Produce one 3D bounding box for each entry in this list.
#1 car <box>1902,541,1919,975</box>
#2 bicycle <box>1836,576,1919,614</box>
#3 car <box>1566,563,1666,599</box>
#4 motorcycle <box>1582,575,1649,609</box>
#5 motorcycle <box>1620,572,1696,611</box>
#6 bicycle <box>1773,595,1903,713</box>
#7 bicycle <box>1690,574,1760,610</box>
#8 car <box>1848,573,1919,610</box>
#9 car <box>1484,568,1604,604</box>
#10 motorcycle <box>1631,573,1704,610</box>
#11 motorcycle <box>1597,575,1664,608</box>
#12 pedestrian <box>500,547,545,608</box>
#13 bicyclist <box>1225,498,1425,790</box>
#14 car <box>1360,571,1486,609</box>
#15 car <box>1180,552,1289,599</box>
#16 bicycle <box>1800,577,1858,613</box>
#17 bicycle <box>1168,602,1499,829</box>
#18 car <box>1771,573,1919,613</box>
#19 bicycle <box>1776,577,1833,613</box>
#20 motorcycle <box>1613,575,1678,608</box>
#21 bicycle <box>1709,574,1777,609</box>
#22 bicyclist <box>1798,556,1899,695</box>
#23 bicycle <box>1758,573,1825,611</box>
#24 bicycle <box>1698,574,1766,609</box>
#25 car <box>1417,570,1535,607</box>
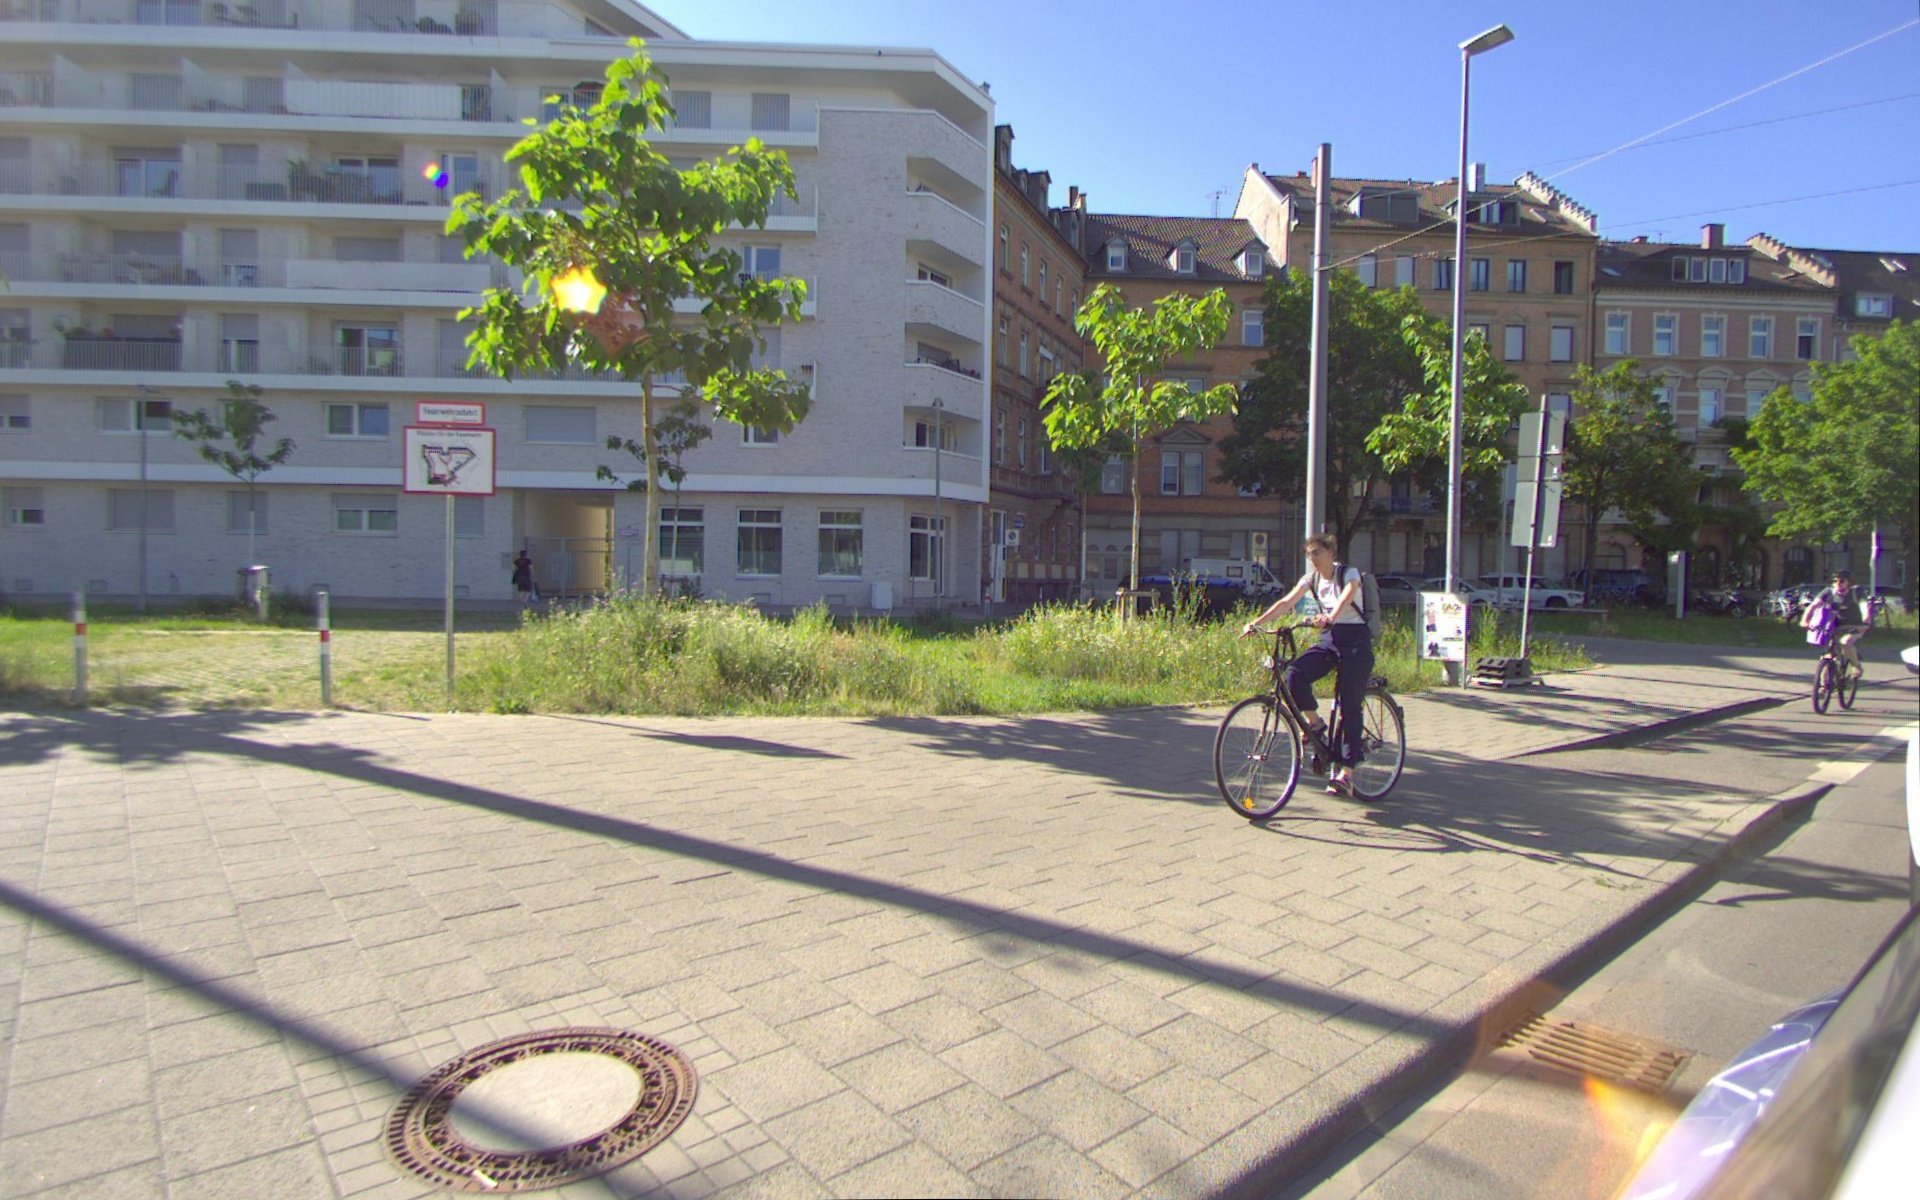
[{"bbox_3d":[5.860,0.607,4.714,4.323,1.667,1.840,0,0,-43],"label":"car"},{"bbox_3d":[31.621,-0.166,34.760,2.180,1.284,0.657,0,0,25],"label":"bicycle"},{"bbox_3d":[30.867,-0.921,47.647,3.631,1.607,1.552,1,2,0],"label":"car"},{"bbox_3d":[26.018,-0.328,40.223,0.649,1.293,2.324,0,0,-18],"label":"motorcycle"},{"bbox_3d":[25.330,-0.306,36.777,0.650,1.347,2.207,0,0,-28],"label":"motorcycle"},{"bbox_3d":[11.233,0.641,12.931,2.035,1.378,0.737,0,1,-34],"label":"bicycle"},{"bbox_3d":[28.361,-0.310,37.562,0.649,1.284,2.208,0,0,-11],"label":"bicycle"},{"bbox_3d":[37.813,-0.329,39.959,1.649,1.423,3.832,-1,3,-32],"label":"car"},{"bbox_3d":[22.320,-0.579,38.771,1.513,1.267,3.700,-1,3,-39],"label":"car"},{"bbox_3d":[26.145,-0.321,37.466,0.649,1.339,2.208,0,0,-23],"label":"motorcycle"},{"bbox_3d":[26.688,-0.336,40.354,0.649,1.300,2.324,0,0,-18],"label":"motorcycle"},{"bbox_3d":[-12.753,-0.675,29.519,0.829,1.717,0.985,2,2,2],"label":"pedestrian"},{"bbox_3d":[2.237,0.240,6.225,0.951,1.649,0.670,0,1,-27],"label":"bicyclist"},{"bbox_3d":[17.340,-0.422,38.105,1.648,1.267,4.170,0,3,-28],"label":"car"},{"bbox_3d":[12.652,-1.155,46.780,4.416,2.062,2.054,1,2,0],"label":"car"},{"bbox_3d":[32.026,-0.193,37.331,0.653,1.284,2.196,0,0,12],"label":"bicycle"},{"bbox_3d":[2.349,0.629,6.283,2.110,1.212,0.670,0,1,-28],"label":"bicycle"},{"bbox_3d":[34.677,-0.320,39.589,1.651,1.423,4.324,-1,3,-38],"label":"car"},{"bbox_3d":[30.932,-0.185,37.108,0.653,1.284,2.196,0,0,12],"label":"bicycle"},{"bbox_3d":[27.479,-0.335,40.608,0.649,1.284,2.209,0,0,-18],"label":"motorcycle"},{"bbox_3d":[29.715,-0.326,38.460,0.649,1.284,2.208,0,0,-9],"label":"bicycle"},{"bbox_3d":[11.426,0.303,13.024,0.953,1.715,0.736,0,1,-34],"label":"bicyclist"},{"bbox_3d":[29.265,-0.292,35.671,0.651,1.284,2.202,0,0,4],"label":"bicycle"},{"bbox_3d":[29.072,-0.319,38.149,0.649,1.284,2.208,0,0,-9],"label":"bicycle"},{"bbox_3d":[19.663,-0.468,38.715,1.648,1.267,3.709,0,3,-28],"label":"car"}]
